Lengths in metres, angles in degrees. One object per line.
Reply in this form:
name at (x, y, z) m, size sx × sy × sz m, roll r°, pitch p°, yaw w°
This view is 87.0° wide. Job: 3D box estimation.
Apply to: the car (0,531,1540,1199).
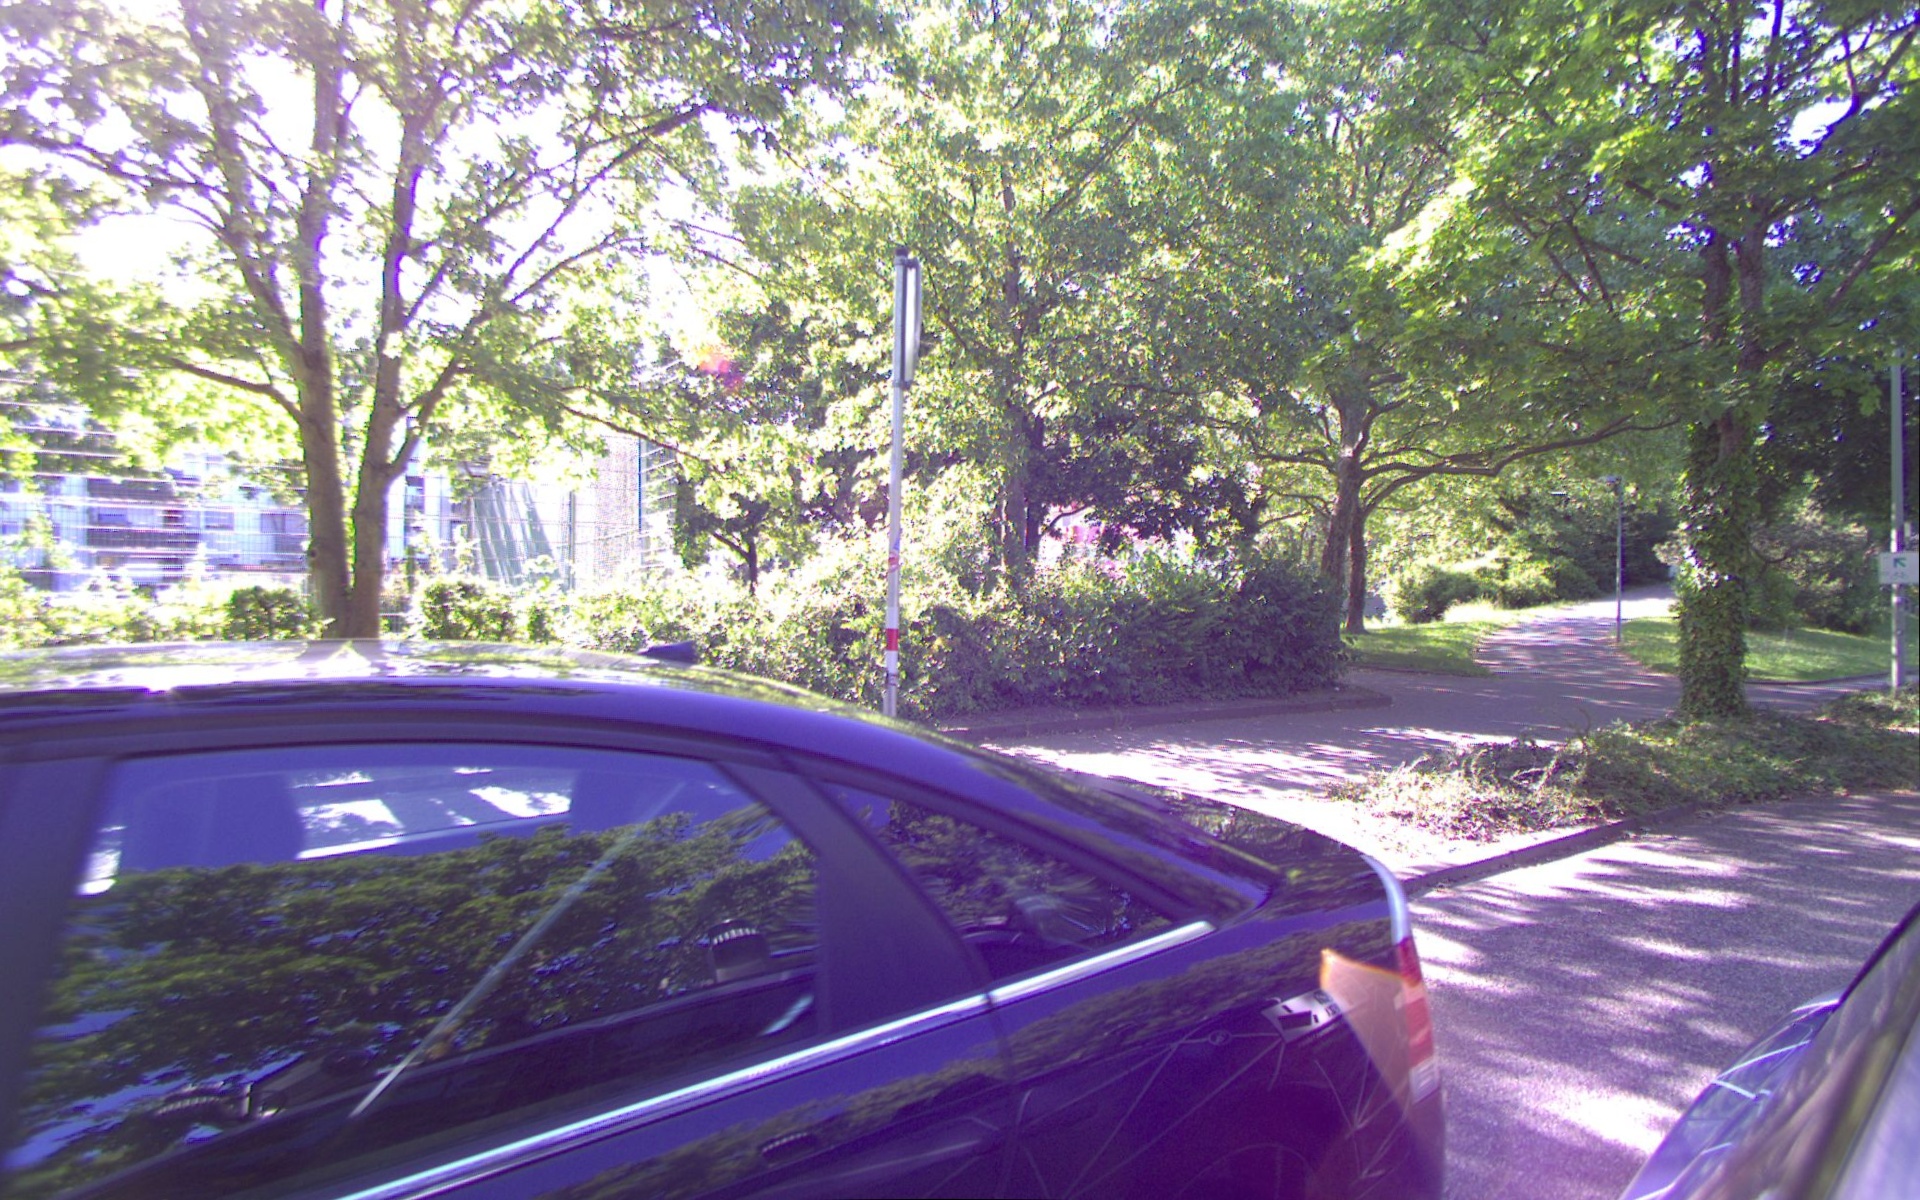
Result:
car at (-1.247, 0.722, 1.244) m, size 3.951 × 1.499 × 1.755 m, roll -1°, pitch -1°, yaw -32°
